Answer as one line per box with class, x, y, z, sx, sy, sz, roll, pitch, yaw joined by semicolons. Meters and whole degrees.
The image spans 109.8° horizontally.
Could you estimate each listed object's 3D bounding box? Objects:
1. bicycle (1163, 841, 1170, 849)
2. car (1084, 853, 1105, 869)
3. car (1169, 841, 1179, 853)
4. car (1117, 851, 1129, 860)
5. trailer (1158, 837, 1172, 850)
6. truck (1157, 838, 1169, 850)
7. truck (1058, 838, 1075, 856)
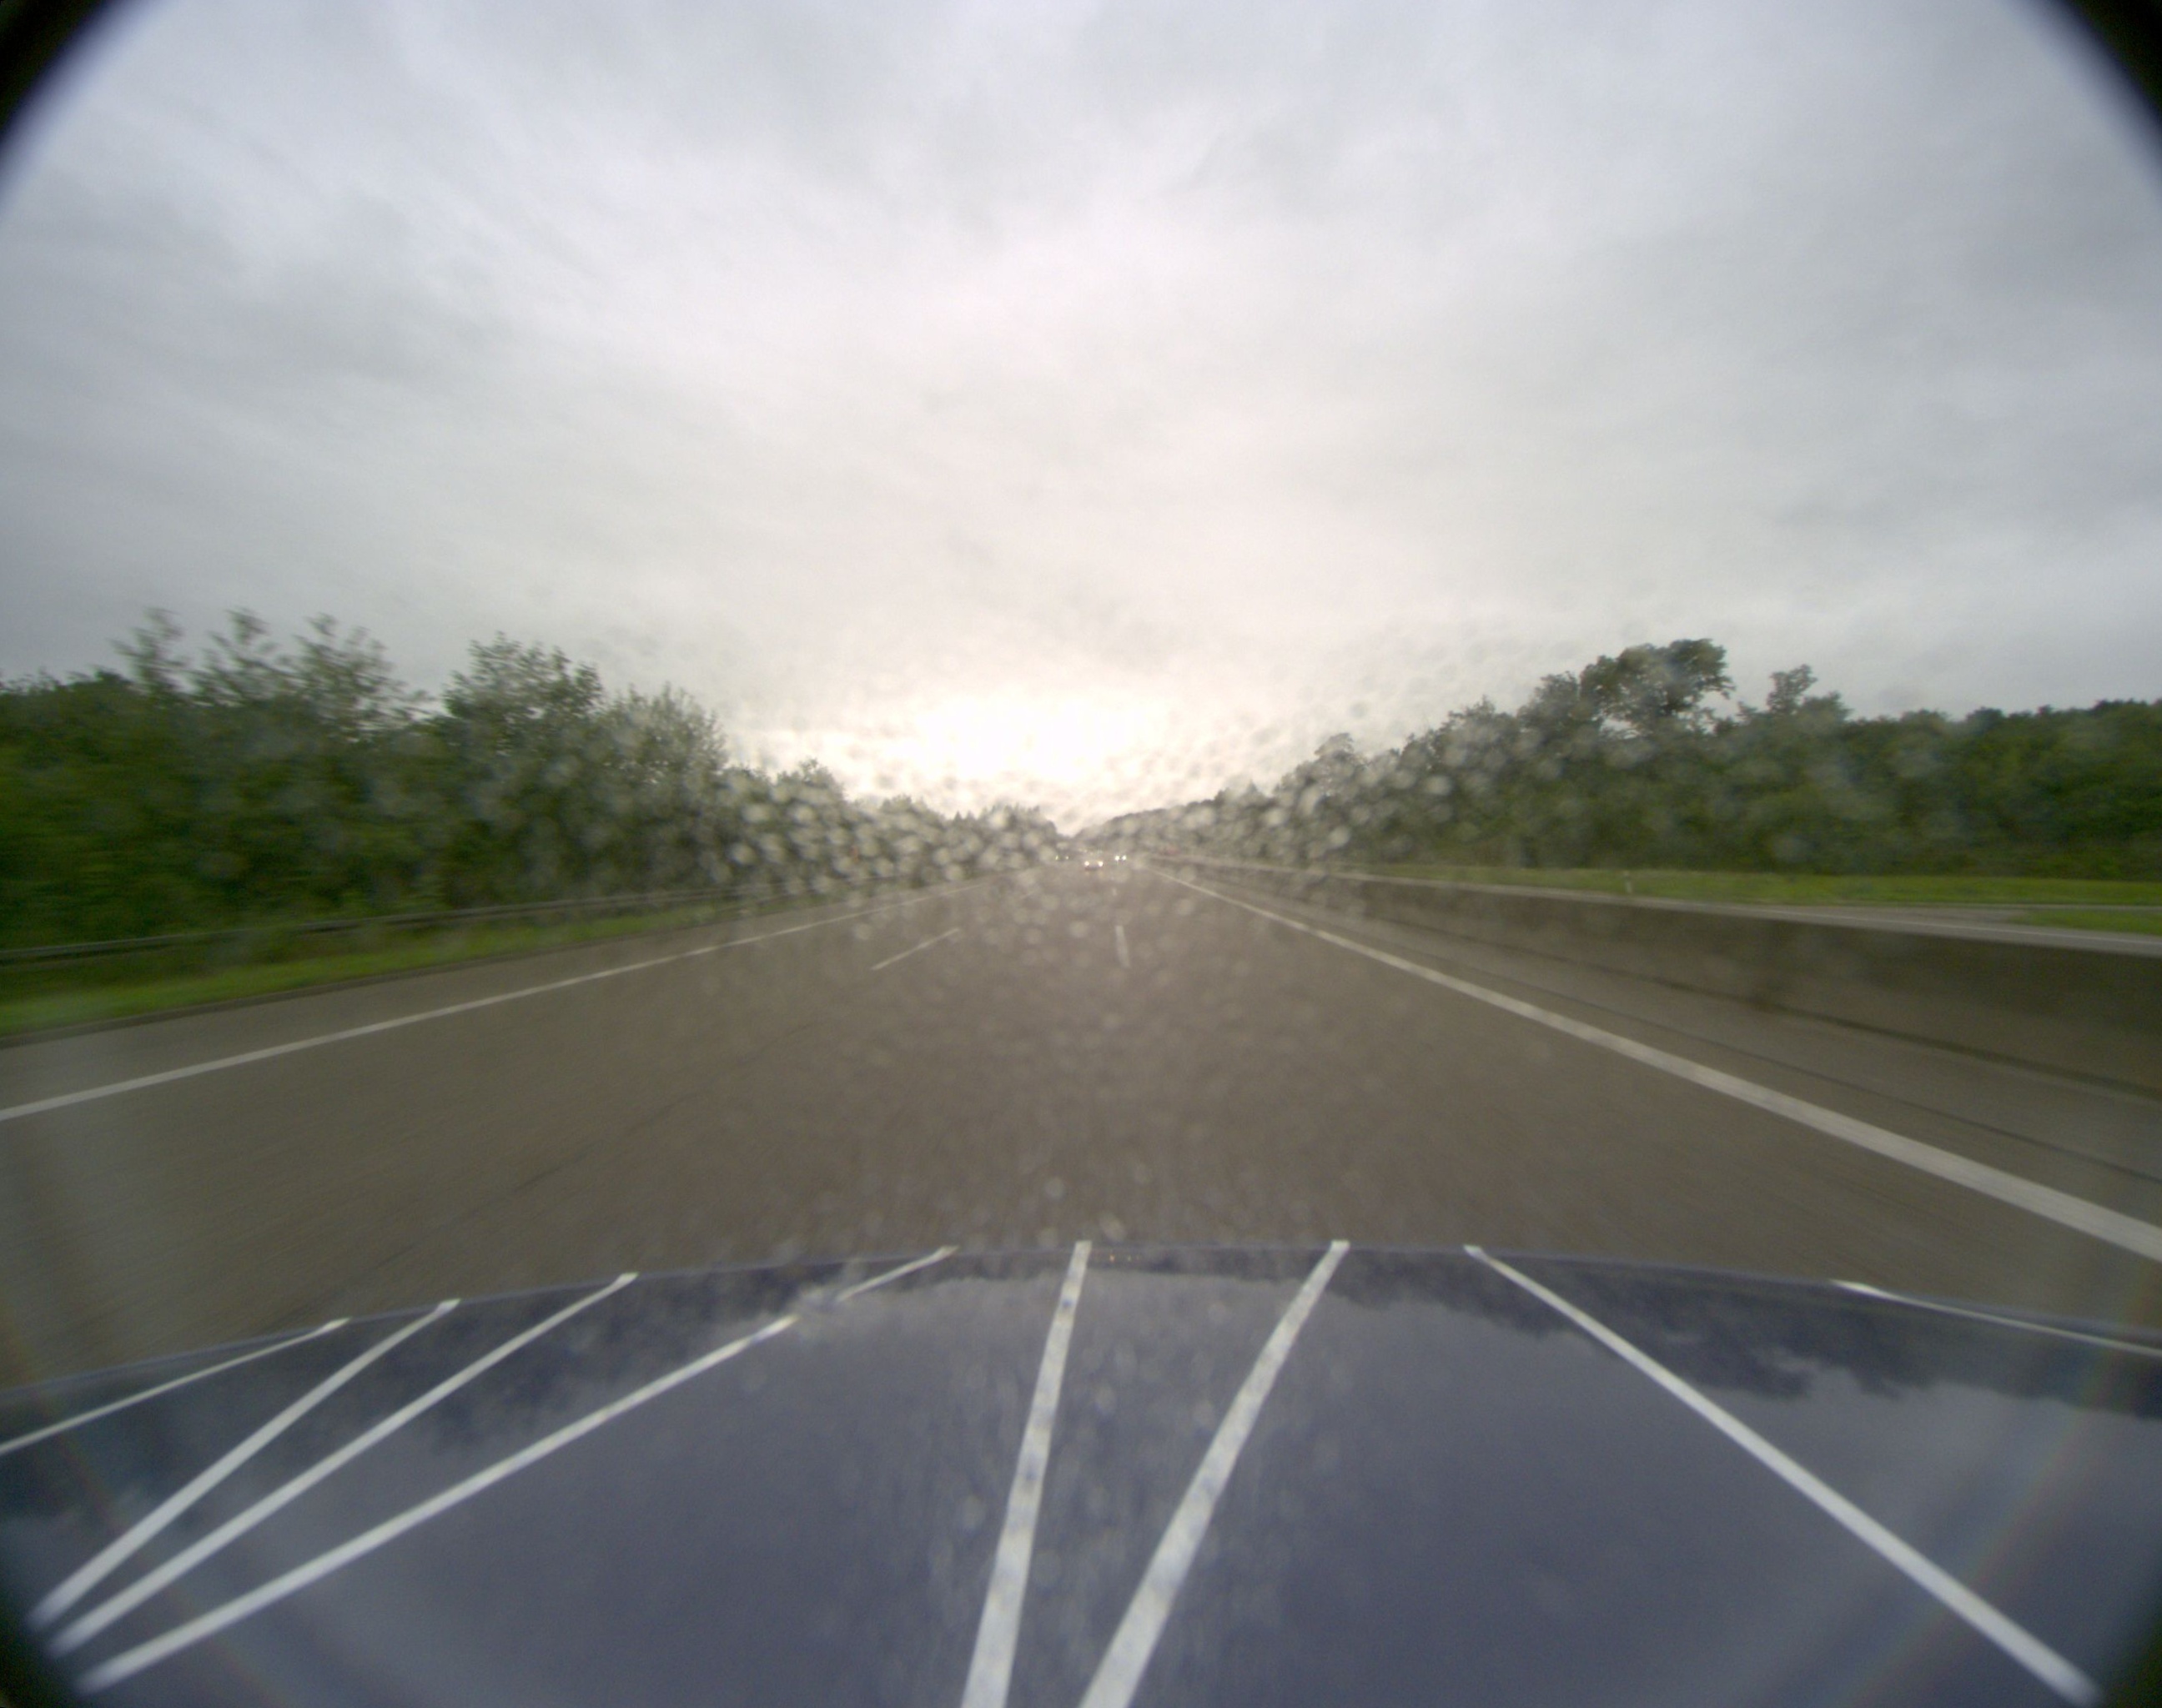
bicycle;26.755;-2.726;237.501;2.199;2.512;1.110;-2;1;2
car;1.311;0.677;72.824;1.932;1.521;4.299;0;-1;3
car;24.779;-1.811;203.057;2.185;3.025;5.975;-1;1;2
car;7.370;0.258;132.390;2.009;1.455;4.001;0;1;4
trailer;26.969;-3.243;244.389;3.370;3.994;12.610;-1;1;3
truck;27.339;-3.376;252.700;3.356;4.005;6.465;-1;1;3
truck;-3.200;-1.663;172.131;3.243;3.873;12.025;-1;1;1
